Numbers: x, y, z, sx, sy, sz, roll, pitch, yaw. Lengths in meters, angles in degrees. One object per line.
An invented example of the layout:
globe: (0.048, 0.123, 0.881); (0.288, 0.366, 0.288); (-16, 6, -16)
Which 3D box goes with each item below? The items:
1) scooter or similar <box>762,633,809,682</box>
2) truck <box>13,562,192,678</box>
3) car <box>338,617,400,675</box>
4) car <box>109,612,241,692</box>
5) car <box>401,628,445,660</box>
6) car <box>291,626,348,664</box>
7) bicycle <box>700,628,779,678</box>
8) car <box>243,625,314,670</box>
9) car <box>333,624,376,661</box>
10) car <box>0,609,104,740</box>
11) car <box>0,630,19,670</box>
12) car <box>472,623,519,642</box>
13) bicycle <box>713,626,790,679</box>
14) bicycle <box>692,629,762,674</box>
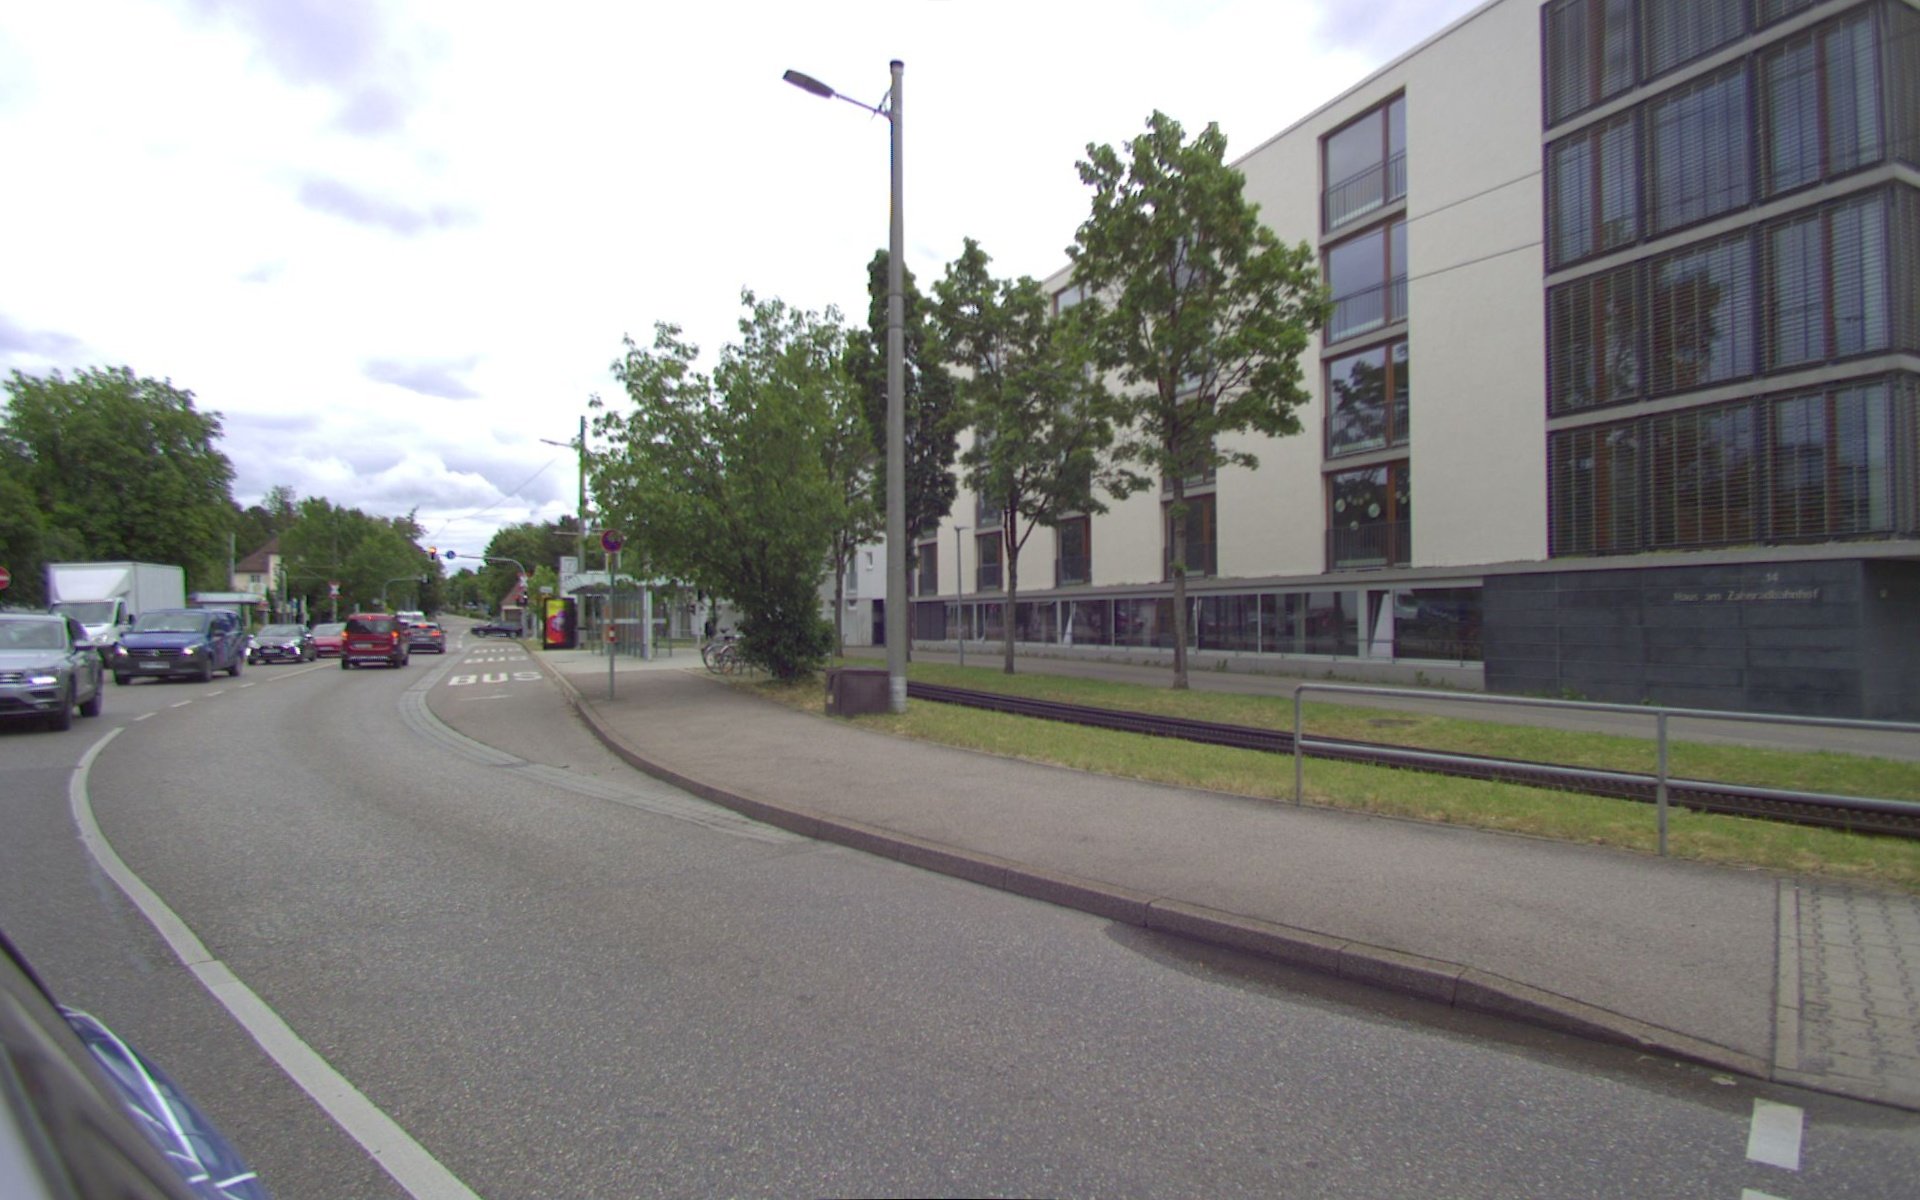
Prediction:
scooter or similar: (-3.797, 1.229, 22.008); (0.776, 1.017, 0.776); (0, -1, -32)
truck: (-28.555, 0.598, 34.114); (2.499, 3.452, 7.801); (0, 0, -24)
car: (-19.939, 1.504, 34.256); (1.657, 1.822, 4.365); (2, -2, -29)
car: (-20.159, 1.255, 26.173); (1.819, 1.875, 4.013); (0, -1, -24)
car: (-26.481, 2.144, 50.017); (1.743, 1.490, 4.013); (2, -2, -26)
car: (-27.754, 1.911, 43.926); (1.819, 1.546, 4.012); (0, -1, -29)
bicycle: (-5.147, 1.221, 23.619); (1.724, 1.054, 0.409); (-2, 0, -23)
car: (-25.201, 1.720, 37.524); (1.819, 1.546, 4.012); (0, -1, -29)
car: (-33.639, 2.324, 56.308); (1.819, 1.875, 4.271); (0, -1, -28)
car: (-13.752, 0.990, 14.541); (1.782, 1.660, 4.341); (0, -1, -35)
car: (-36.791, 1.918, 36.471); (1.520, 1.420, 3.955); (-1, 1, 33)
car: (-43.990, 3.062, 95.901); (3.931, 1.719, 1.935); (0, -1, -28)
bicycle: (-4.732, 1.176, 23.024); (1.682, 1.097, 0.409); (-2, 0, -37)
bicycle: (-5.912, 1.300, 25.706); (1.663, 1.032, 0.397); (-2, 0, -23)
